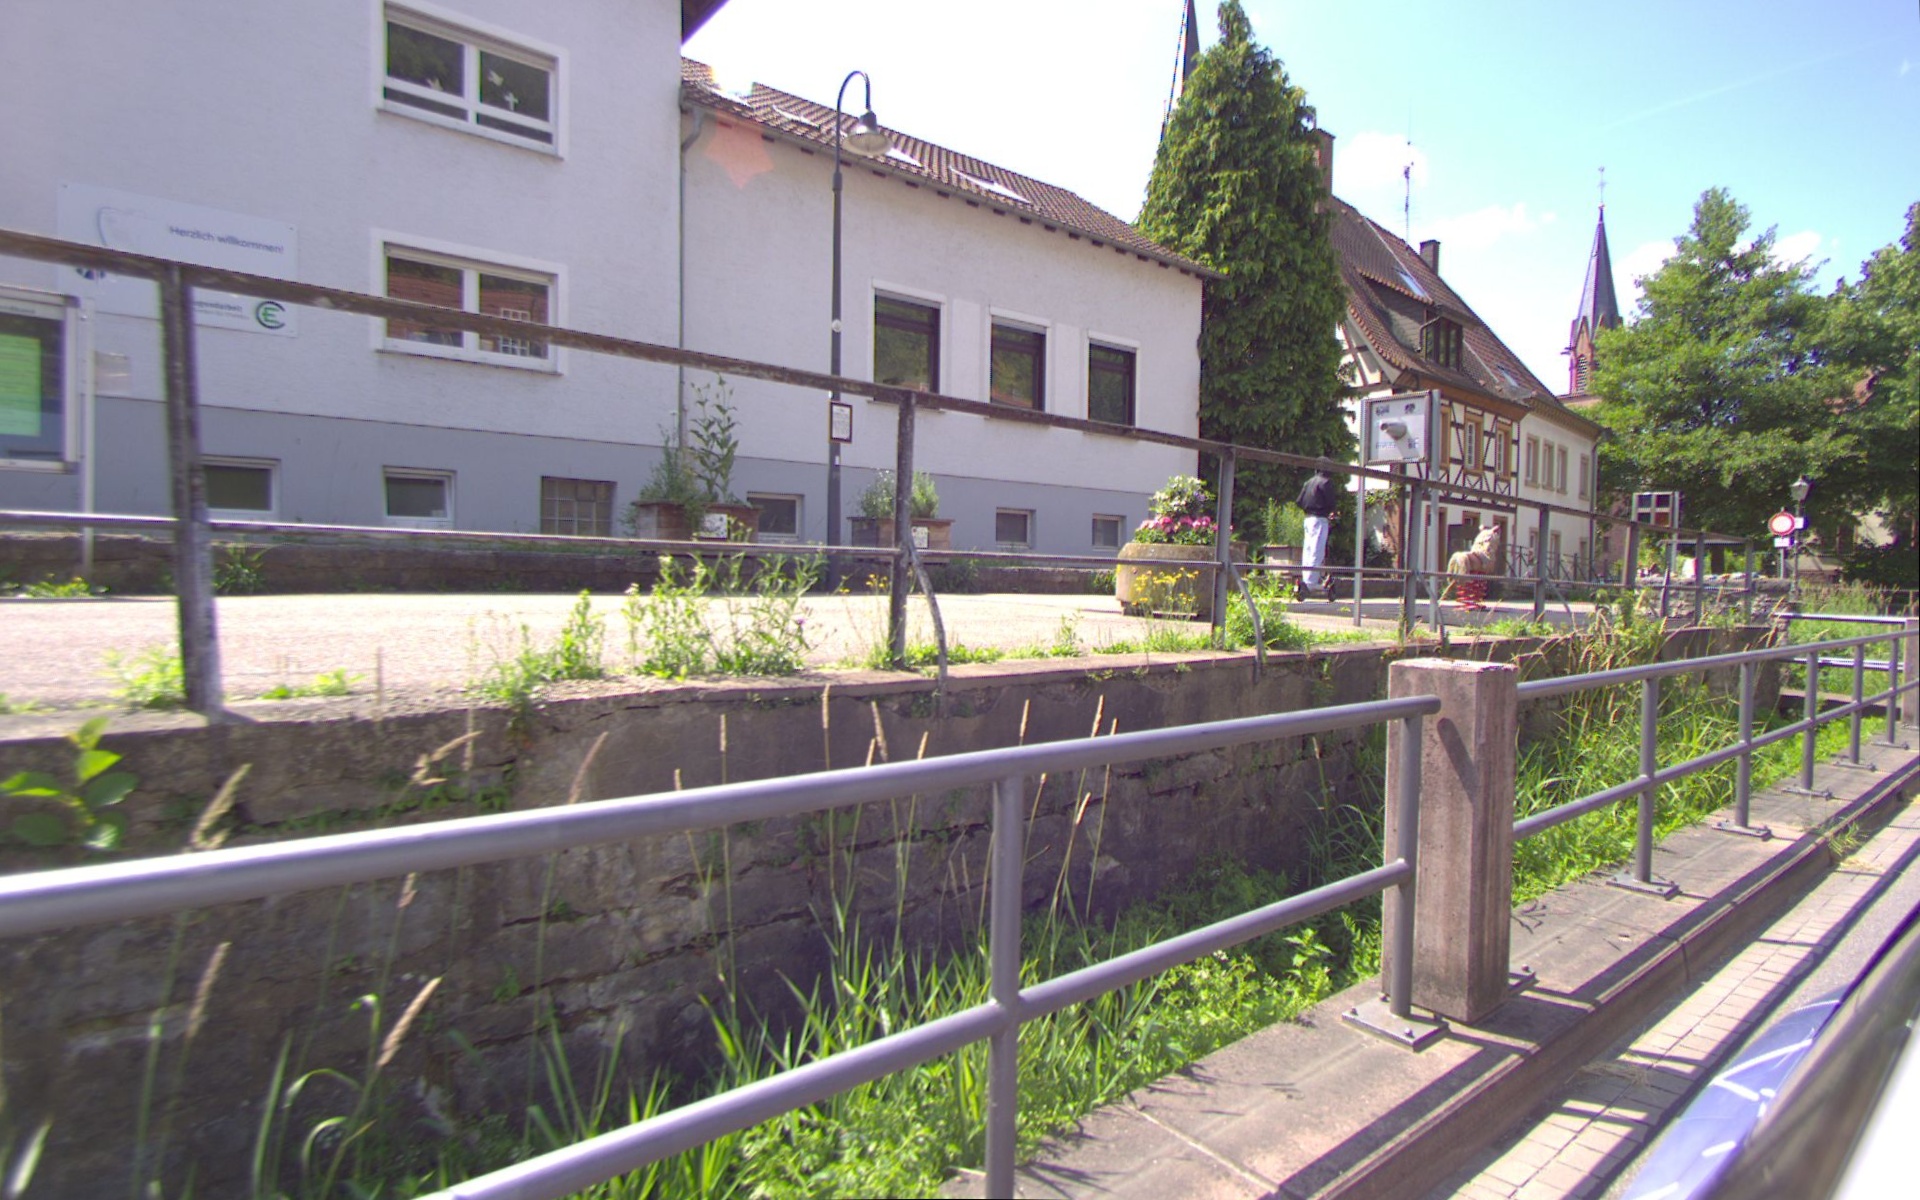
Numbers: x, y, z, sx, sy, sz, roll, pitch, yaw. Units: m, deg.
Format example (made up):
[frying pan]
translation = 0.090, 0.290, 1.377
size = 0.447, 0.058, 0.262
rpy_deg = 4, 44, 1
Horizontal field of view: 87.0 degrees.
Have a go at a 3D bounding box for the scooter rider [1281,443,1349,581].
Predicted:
[scooter rider]
translation = 4.687, -1.136, 13.370
size = 0.544, 1.753, 0.643
rpy_deg = 0, 1, -39

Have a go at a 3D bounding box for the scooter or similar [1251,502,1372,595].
[scooter or similar]
translation = 4.672, -0.666, 13.393
size = 1.779, 1.156, 0.643
rpy_deg = -1, 3, -39
